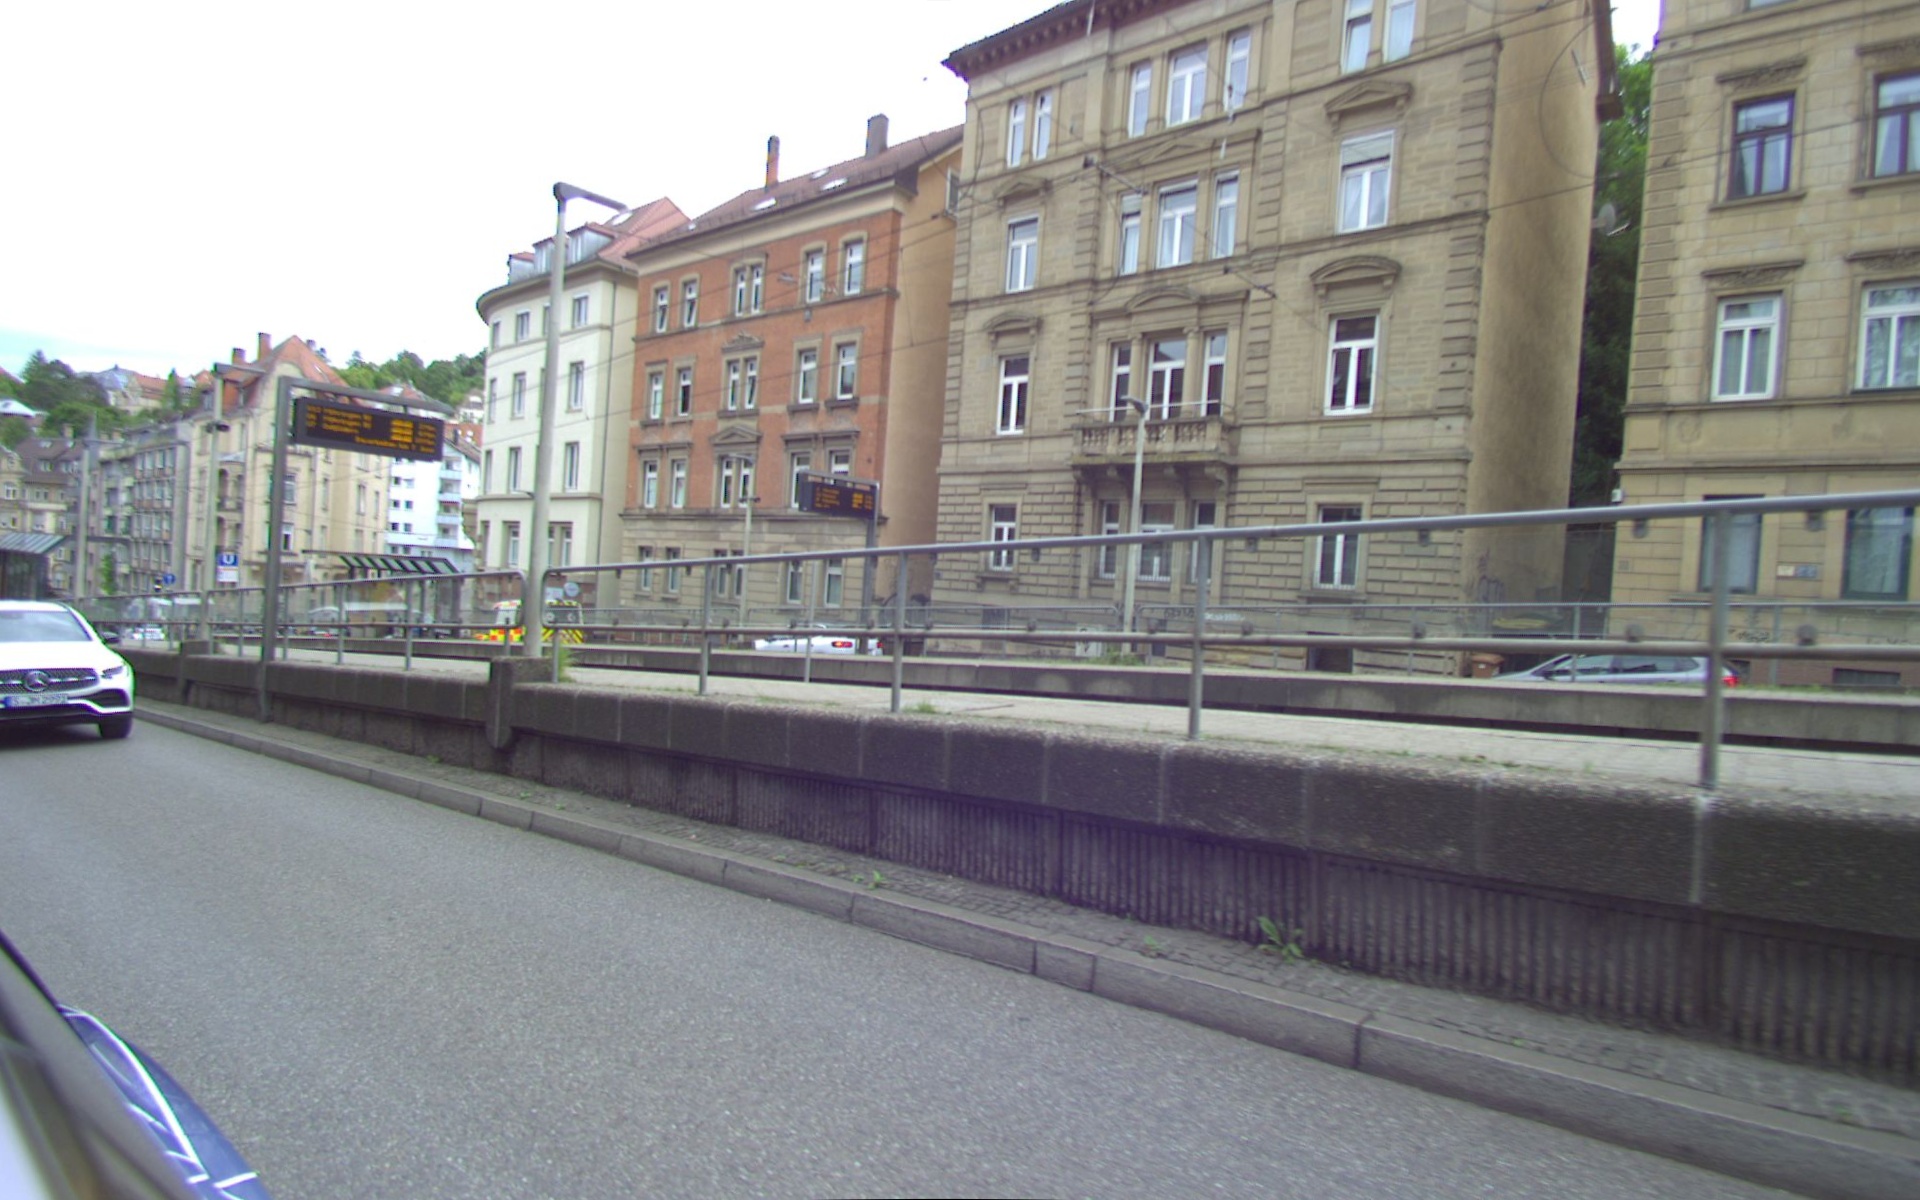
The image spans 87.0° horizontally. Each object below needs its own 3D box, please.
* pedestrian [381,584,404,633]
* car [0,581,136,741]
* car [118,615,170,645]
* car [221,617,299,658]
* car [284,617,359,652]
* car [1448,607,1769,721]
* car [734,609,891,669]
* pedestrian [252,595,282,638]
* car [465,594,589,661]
[{"bbox_3d":[-18.553,0.280,33.068,0.540,1.574,0.457,-1,-3,40],"label":"pedestrian"},{"bbox_3d":[-11.684,0.641,12.331,4.669,1.679,1.816,0,0,42],"label":"car"},{"bbox_3d":[-49.934,1.853,61.919,3.862,1.778,1.804,-1,-2,41],"label":"car"},{"bbox_3d":[-34.299,1.818,49.551,4.410,1.909,1.974,-1,-2,39],"label":"car"},{"bbox_3d":[-31.980,1.698,50.662,4.410,1.658,1.844,-1,-2,39],"label":"car"},{"bbox_3d":[9.981,0.942,15.727,3.997,1.540,1.859,-1,-3,40],"label":"car"},{"bbox_3d":[-4.008,1.001,27.126,4.256,1.482,1.750,-1,-1,39],"label":"car"},{"bbox_3d":[-27.902,0.683,40.768,0.842,1.701,0.757,-2,-3,41],"label":"pedestrian"},{"bbox_3d":[-16.148,1.019,37.636,5.451,2.322,1.973,-1,-3,40],"label":"car"}]
